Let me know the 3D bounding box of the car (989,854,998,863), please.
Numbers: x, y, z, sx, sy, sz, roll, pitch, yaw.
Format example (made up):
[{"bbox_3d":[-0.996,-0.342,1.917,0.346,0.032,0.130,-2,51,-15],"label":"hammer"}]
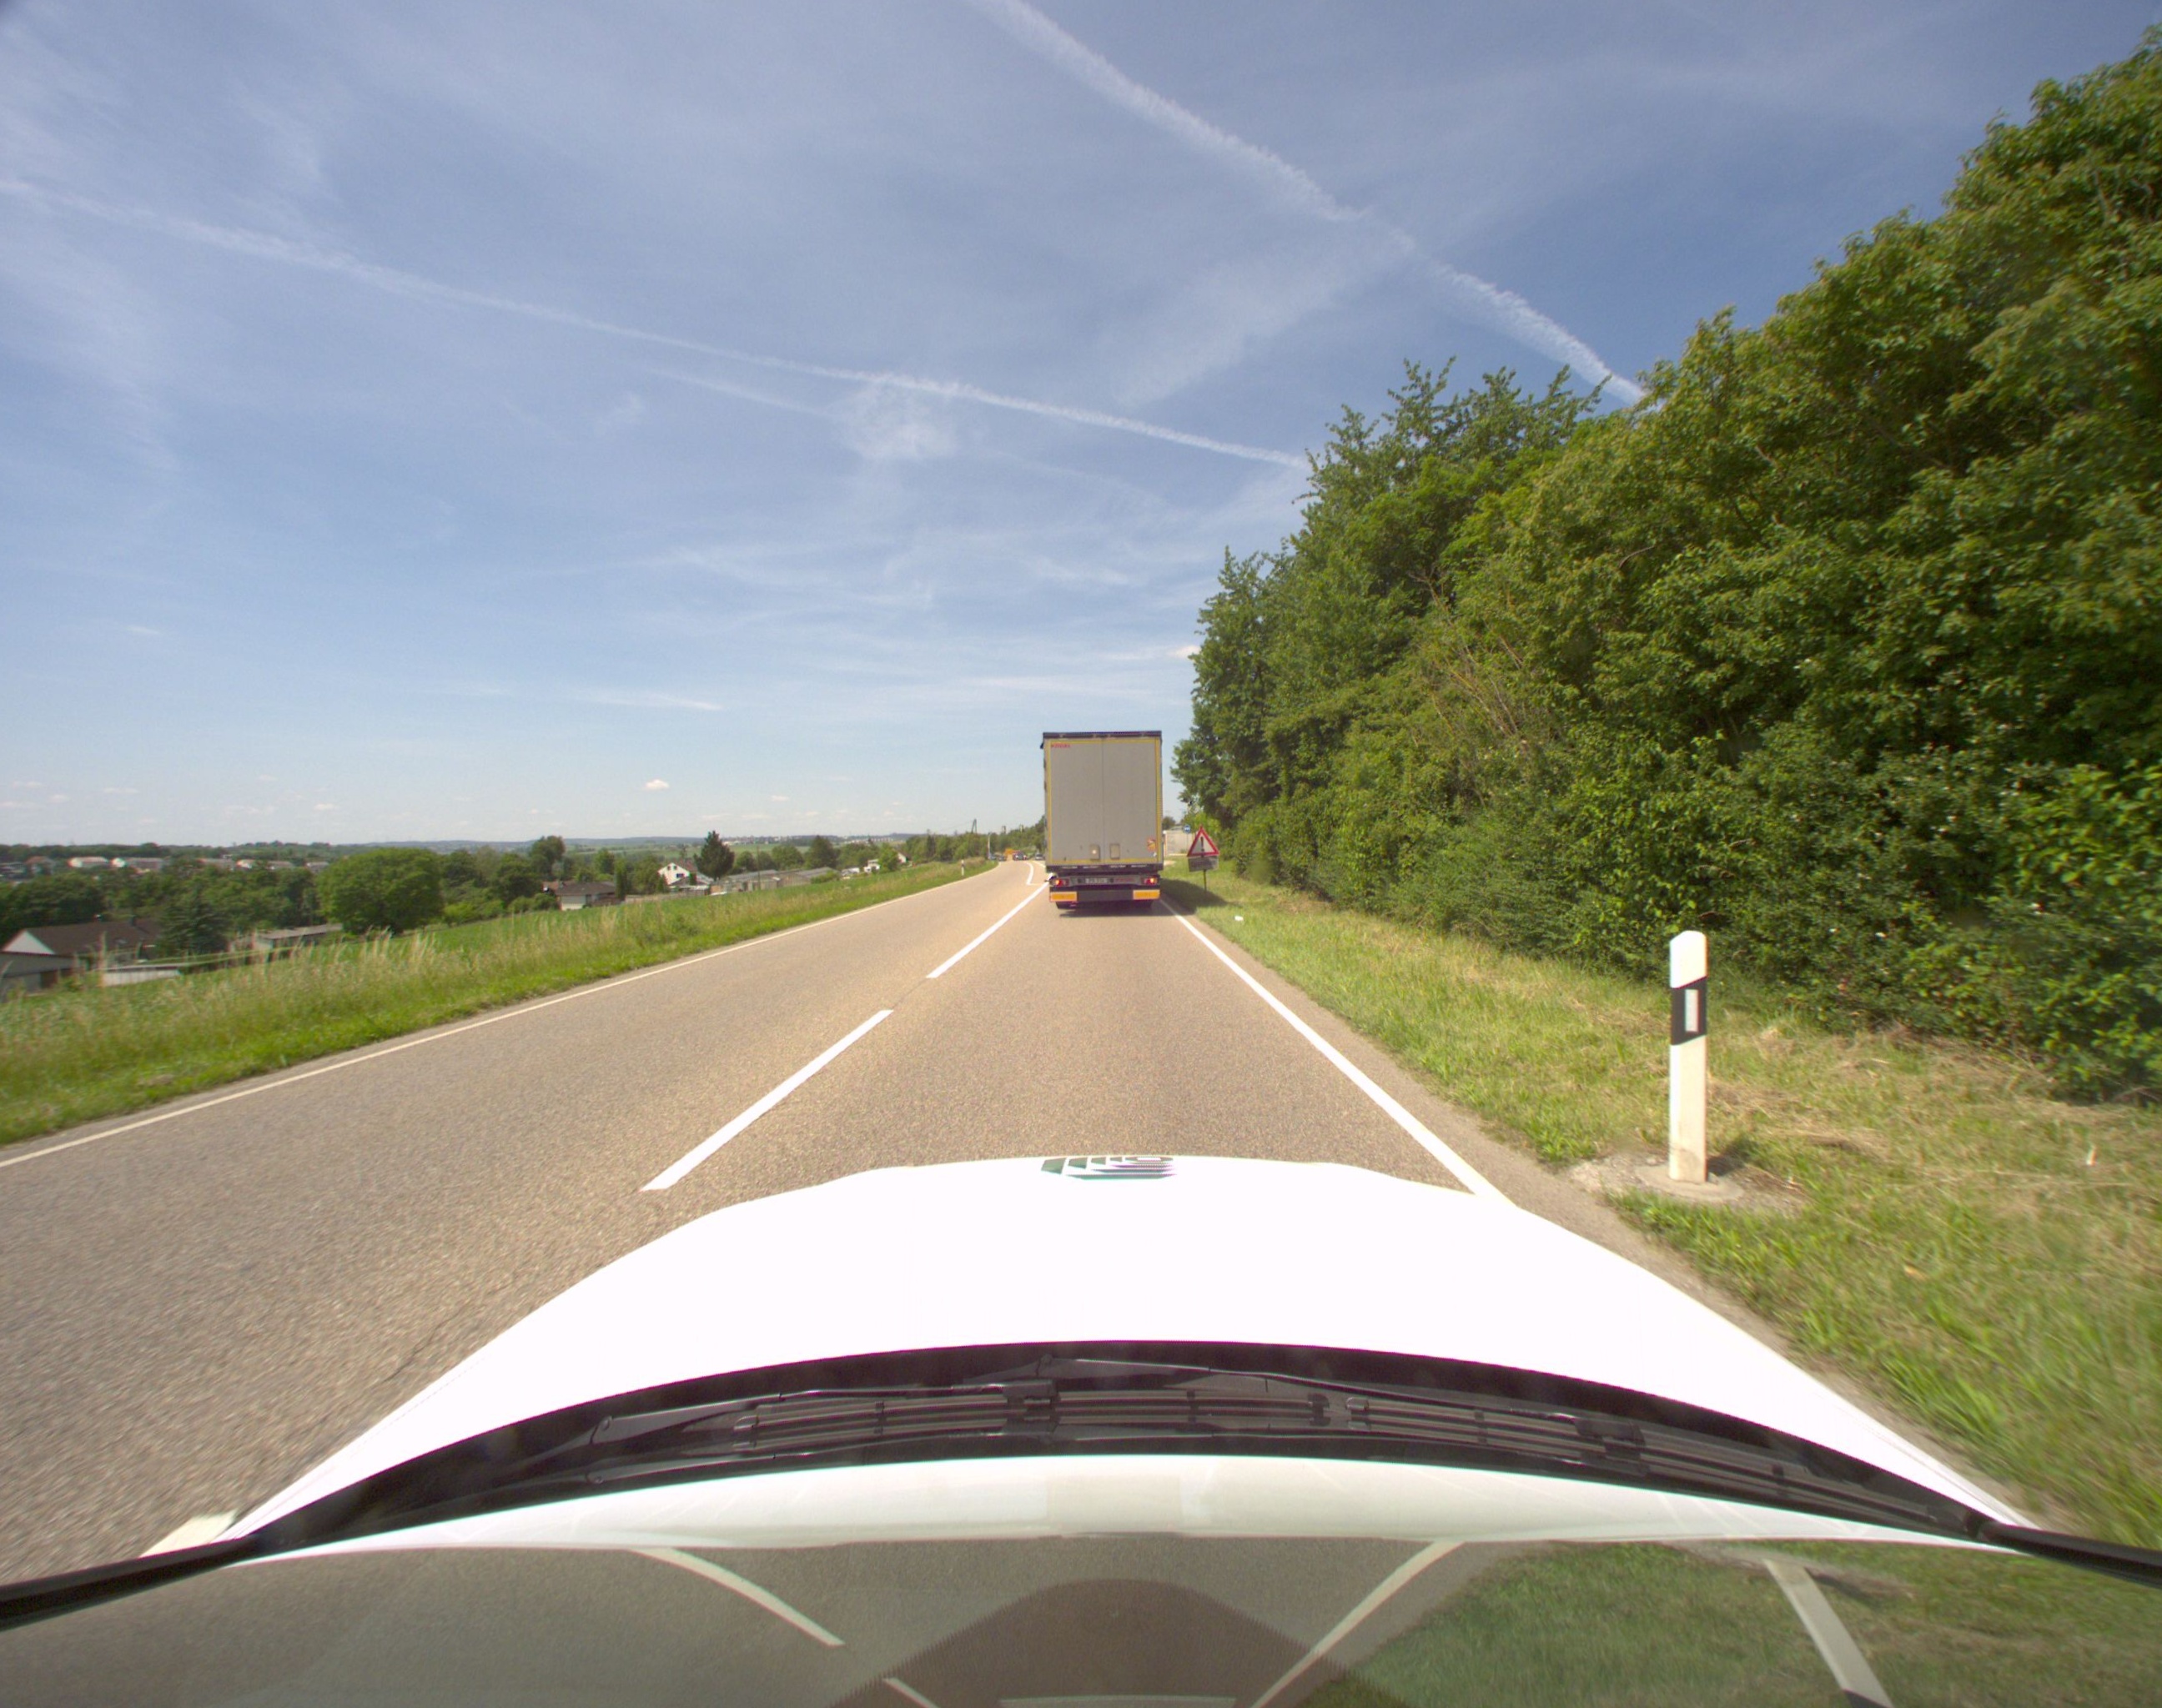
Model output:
[{"bbox_3d":[-21.768,1.147,203.480,1.991,1.978,5.268,-4,0,-6],"label":"car"}]

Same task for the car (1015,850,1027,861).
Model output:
[{"bbox_3d":[-11.485,0.317,155.465,1.989,1.949,4.497,-4,0,-3],"label":"car"}]

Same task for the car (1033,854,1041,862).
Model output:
[{"bbox_3d":[-10.346,0.951,191.457,1.888,1.776,4.382,-4,0,-3],"label":"car"}]

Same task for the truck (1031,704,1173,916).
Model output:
[{"bbox_3d":[0.475,-0.971,21.510,2.897,4.409,8.860,-1,1,0],"label":"truck"}]

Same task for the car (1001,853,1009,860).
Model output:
[{"bbox_3d":[-19.903,0.635,212.310,1.991,1.815,4.288,-4,1,-6],"label":"car"}]

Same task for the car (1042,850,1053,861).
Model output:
[{"bbox_3d":[-7.083,0.278,172.662,2.166,2.013,4.522,-4,0,-3],"label":"car"}]
